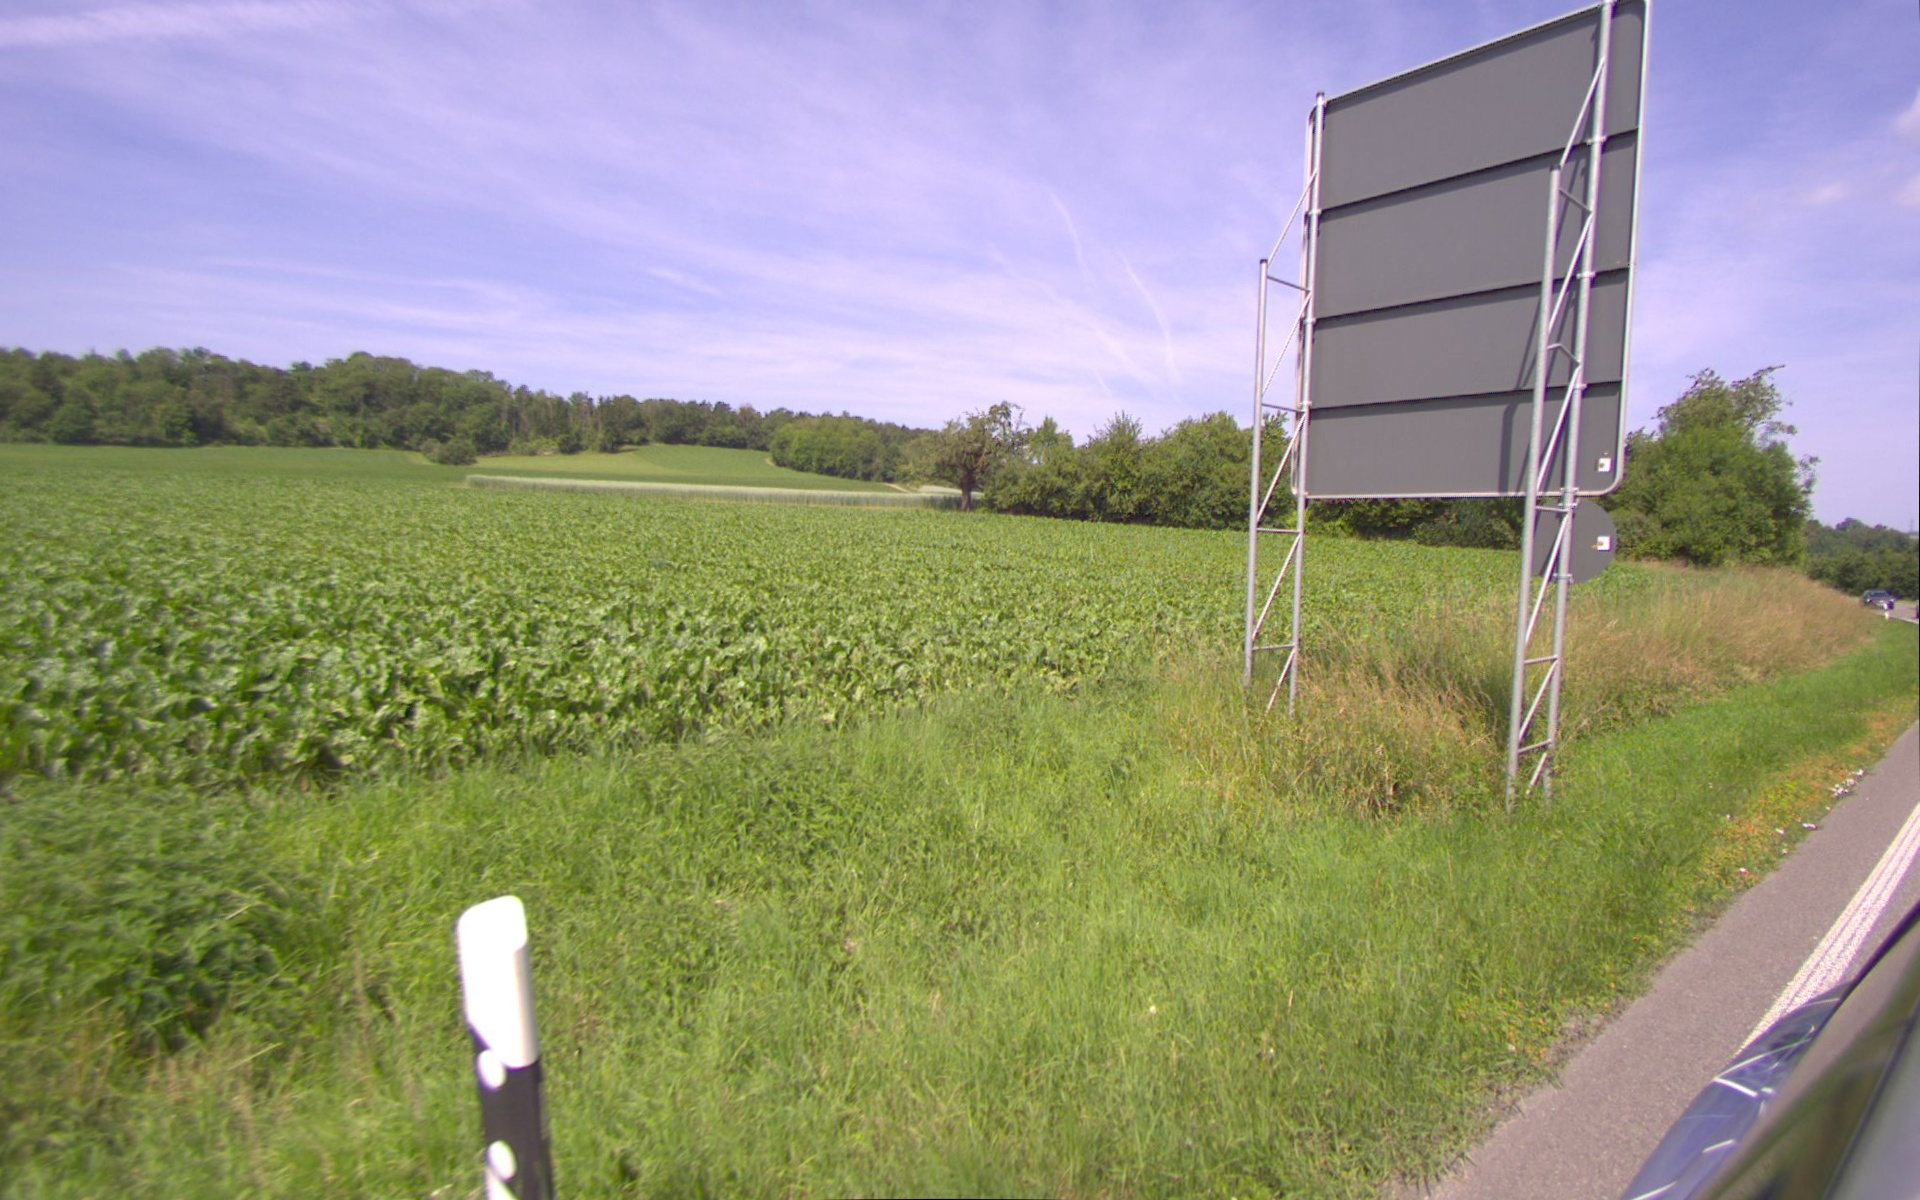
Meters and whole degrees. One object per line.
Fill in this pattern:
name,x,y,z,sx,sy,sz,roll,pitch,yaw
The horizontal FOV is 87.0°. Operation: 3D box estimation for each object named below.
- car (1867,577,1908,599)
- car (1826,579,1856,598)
car,74.573,-1.005,81.432,1.816,1.537,3.950,7,6,35
car,86.449,-1.151,99.301,1.657,1.669,3.951,7,6,35
